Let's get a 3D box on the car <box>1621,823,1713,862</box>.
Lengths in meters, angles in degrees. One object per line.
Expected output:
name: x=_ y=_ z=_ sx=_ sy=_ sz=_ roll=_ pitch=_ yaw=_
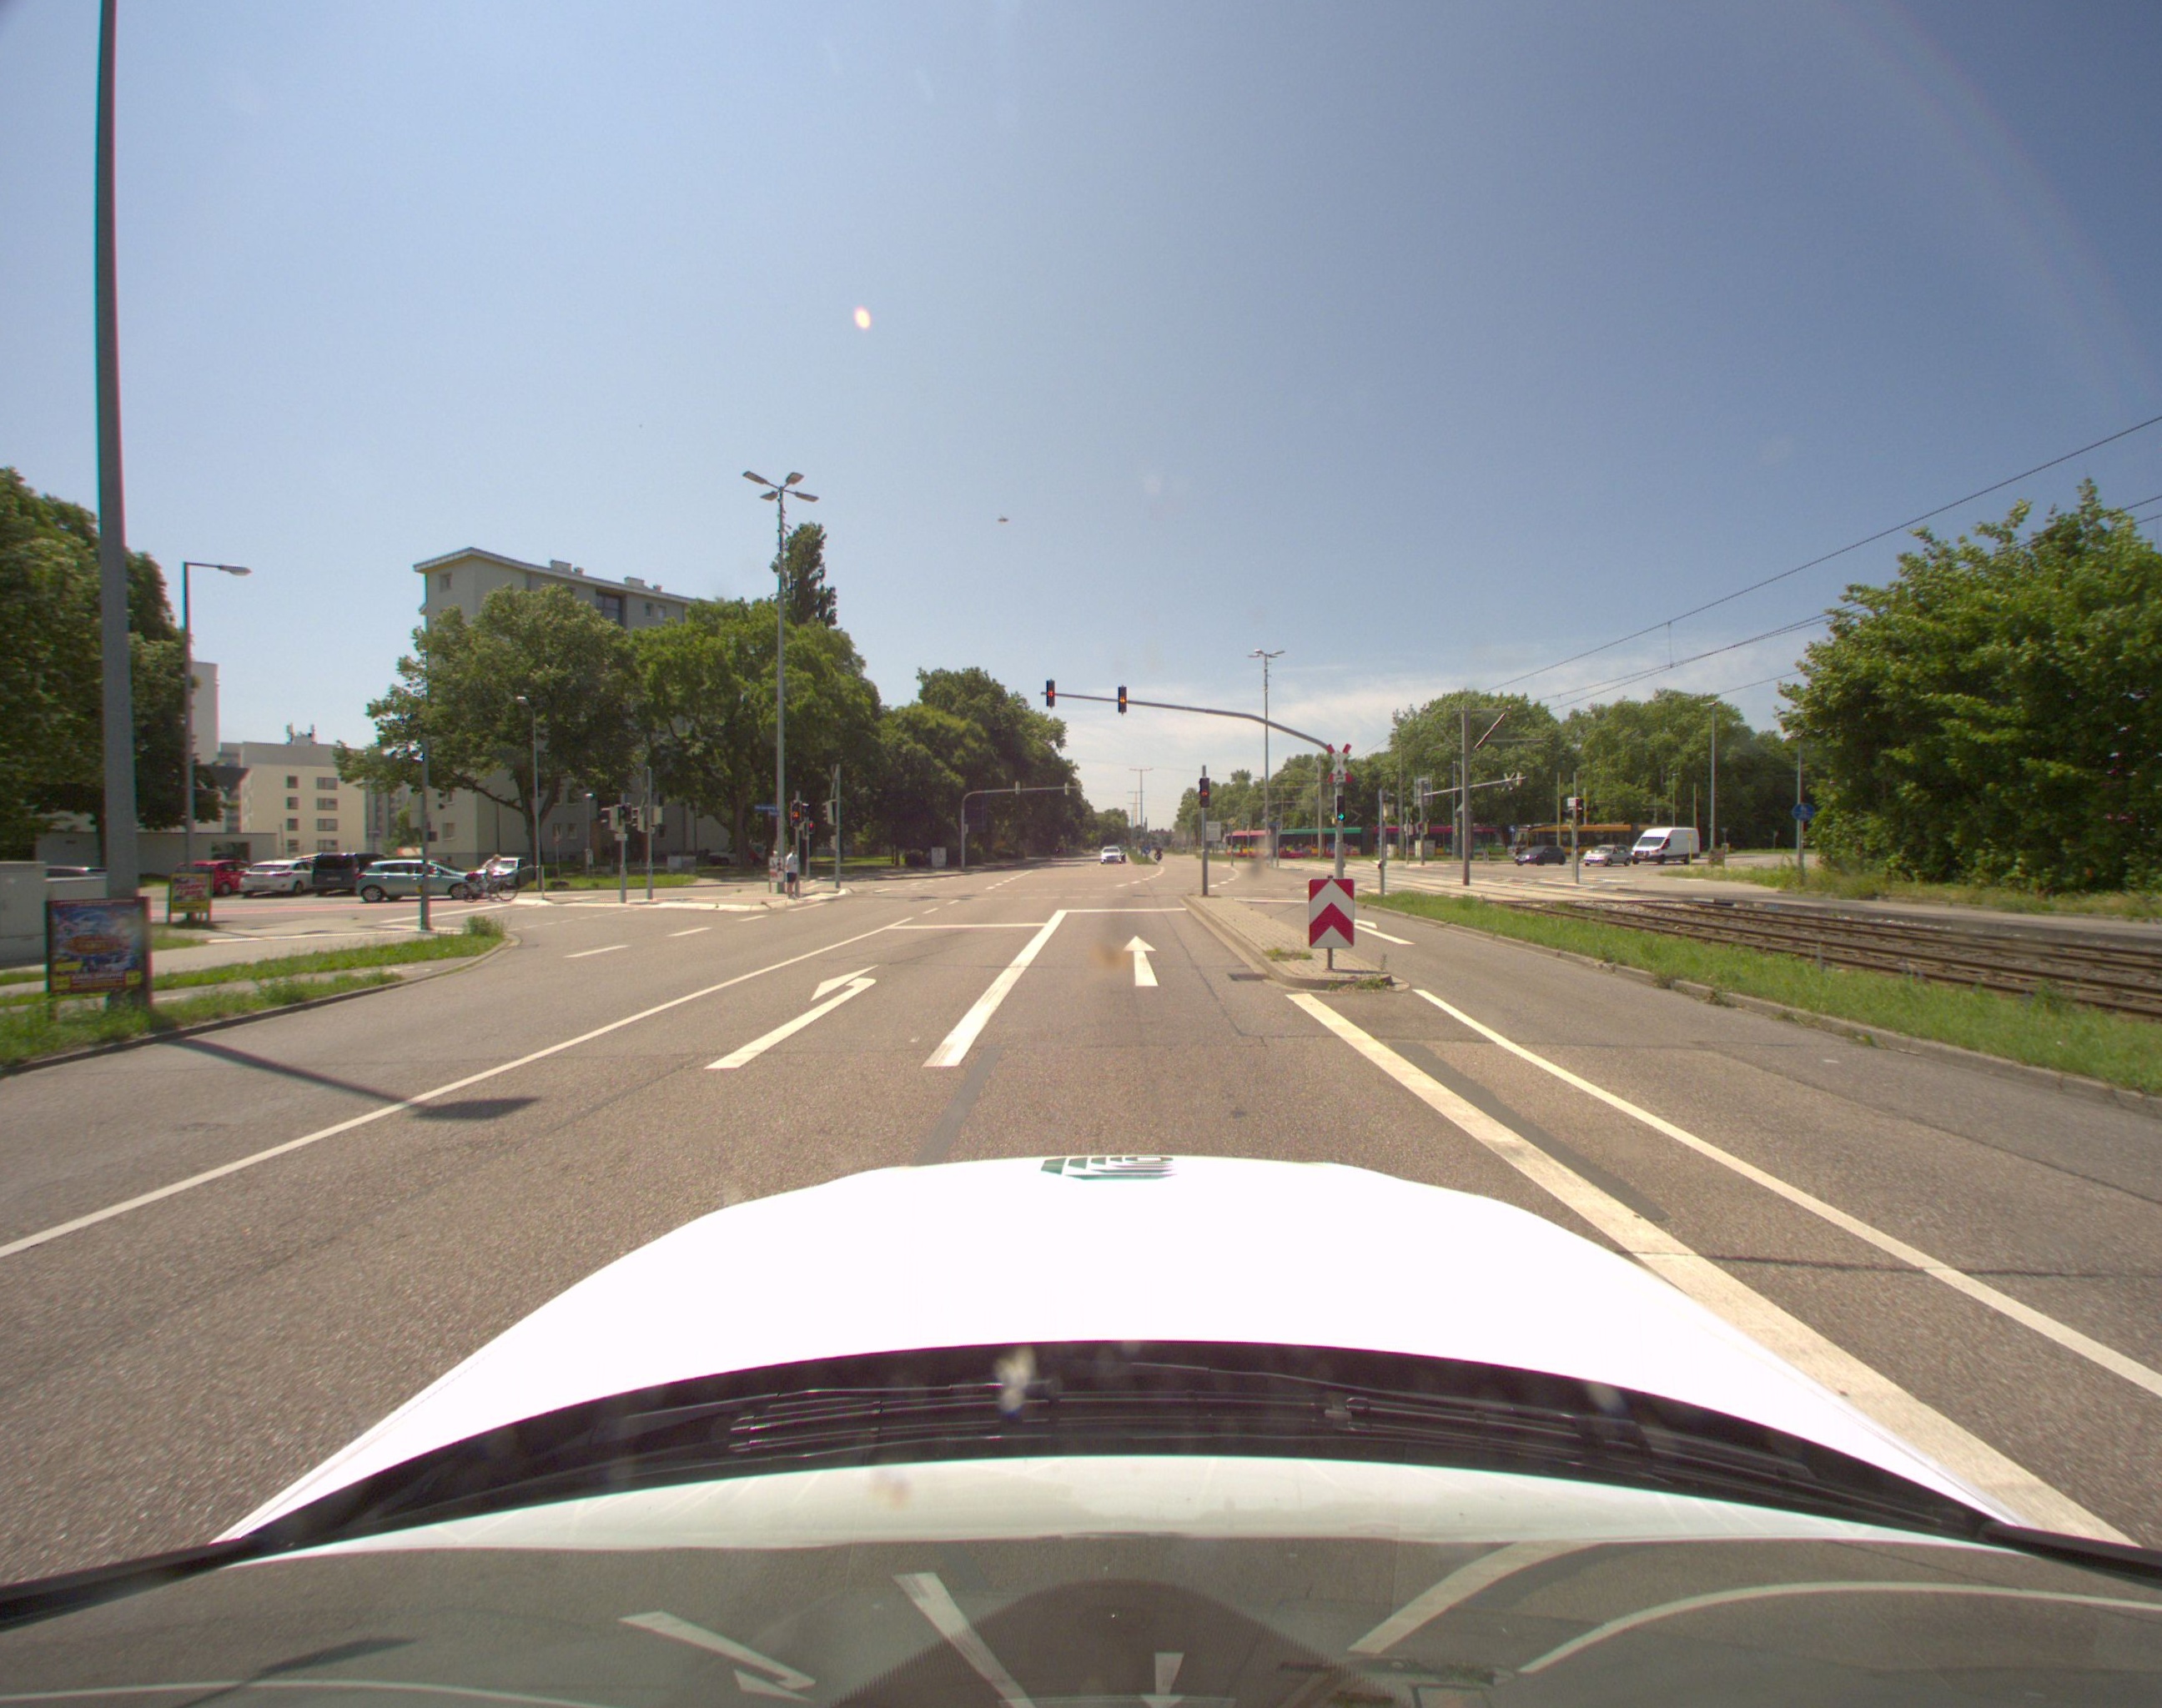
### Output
car: x=44.000 y=-0.885 z=61.084 sx=7.303 sy=2.802 sz=2.692 roll=-1 pitch=1 yaw=-29

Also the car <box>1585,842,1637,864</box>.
car: x=37.230 y=-0.103 z=57.182 sx=3.819 sy=1.463 sz=1.624 roll=-1 pitch=1 yaw=-32

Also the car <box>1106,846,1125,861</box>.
car: x=3.305 y=-0.059 z=77.652 sx=1.703 sy=1.365 sz=3.869 roll=-1 pitch=1 yaw=4

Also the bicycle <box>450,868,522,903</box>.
bicycle: x=-20.361 y=1.066 z=27.897 sx=1.870 sy=1.093 sz=0.642 roll=-1 pitch=0 yaw=-20

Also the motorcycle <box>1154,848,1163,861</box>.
motorcycle: x=7.835 y=0.068 z=82.091 sx=0.843 sy=1.255 sz=2.451 roll=1 pitch=0 yaw=3

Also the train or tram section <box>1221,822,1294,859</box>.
train or tram section: x=21.179 y=-1.474 z=99.062 sx=2.920 sy=3.812 sz=13.000 roll=1 pitch=-2 yaw=-16

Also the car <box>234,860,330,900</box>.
car: x=-35.283 y=1.088 z=36.080 sx=1.712 sy=1.592 sz=3.969 roll=0 pitch=1 yaw=-23

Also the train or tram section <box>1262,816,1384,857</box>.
train or tram section: x=26.309 y=-1.785 z=89.476 sx=2.939 sy=3.812 sz=13.293 roll=3 pitch=-3 yaw=-42

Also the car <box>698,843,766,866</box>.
car: x=-27.395 y=0.016 z=64.012 sx=1.769 sy=1.768 sz=4.576 roll=0 pitch=1 yaw=43

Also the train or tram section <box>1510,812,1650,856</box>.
train or tram section: x=49.953 y=-1.934 z=81.552 sx=13.933 sy=3.919 sz=2.910 roll=1 pitch=-2 yaw=-13

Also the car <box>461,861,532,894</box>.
car: x=-27.807 y=1.077 z=38.884 sx=1.628 sy=1.380 sz=3.976 roll=0 pitch=1 yaw=-18

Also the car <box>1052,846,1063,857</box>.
car: x=-4.705 y=-0.440 z=161.476 sx=1.987 sy=2.013 sz=4.000 roll=3 pitch=0 yaw=0

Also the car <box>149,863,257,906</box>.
car: x=-37.554 y=1.237 z=34.955 sx=1.856 sy=1.668 sz=3.965 roll=-1 pitch=0 yaw=-27

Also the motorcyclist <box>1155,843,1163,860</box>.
motorcyclist: x=7.832 y=-0.255 z=81.897 sx=0.787 sy=1.642 sz=1.212 roll=1 pitch=0 yaw=3

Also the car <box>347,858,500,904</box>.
car: x=-23.527 y=0.924 z=29.328 sx=3.900 sy=1.468 sz=1.763 roll=-1 pitch=1 yaw=-22

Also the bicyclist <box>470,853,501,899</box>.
bicyclist: x=-20.389 y=0.732 z=27.892 sx=0.666 sy=1.537 sz=0.627 roll=-1 pitch=0 yaw=-19

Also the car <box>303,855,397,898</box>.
car: x=-32.932 y=0.955 z=36.819 sx=1.710 sy=1.800 sz=3.974 roll=0 pitch=1 yaw=-19

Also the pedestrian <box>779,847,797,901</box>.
pedestrian: x=-9.257 y=0.625 z=25.715 sx=0.381 sy=1.687 sz=0.486 roll=0 pitch=0 yaw=-1

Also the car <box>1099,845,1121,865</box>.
car: x=2.523 y=0.061 z=70.178 sx=1.777 sy=1.628 sz=3.869 roll=-1 pitch=1 yaw=4

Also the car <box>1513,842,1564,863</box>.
car: x=33.063 y=-0.116 z=58.818 sx=3.518 sy=1.463 sz=1.625 roll=-1 pitch=1 yaw=-29

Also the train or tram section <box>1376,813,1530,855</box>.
train or tram section: x=37.233 y=-1.908 z=82.230 sx=13.878 sy=3.919 sz=2.938 roll=0 pitch=-2 yaw=21

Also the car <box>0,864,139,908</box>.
car: x=-38.412 y=1.168 z=29.922 sx=4.624 sy=1.499 sz=1.902 roll=-1 pitch=1 yaw=-16

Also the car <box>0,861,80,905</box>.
car: x=-44.138 y=1.186 z=33.494 sx=1.852 sy=1.711 sz=3.974 roll=-2 pitch=1 yaw=-19
